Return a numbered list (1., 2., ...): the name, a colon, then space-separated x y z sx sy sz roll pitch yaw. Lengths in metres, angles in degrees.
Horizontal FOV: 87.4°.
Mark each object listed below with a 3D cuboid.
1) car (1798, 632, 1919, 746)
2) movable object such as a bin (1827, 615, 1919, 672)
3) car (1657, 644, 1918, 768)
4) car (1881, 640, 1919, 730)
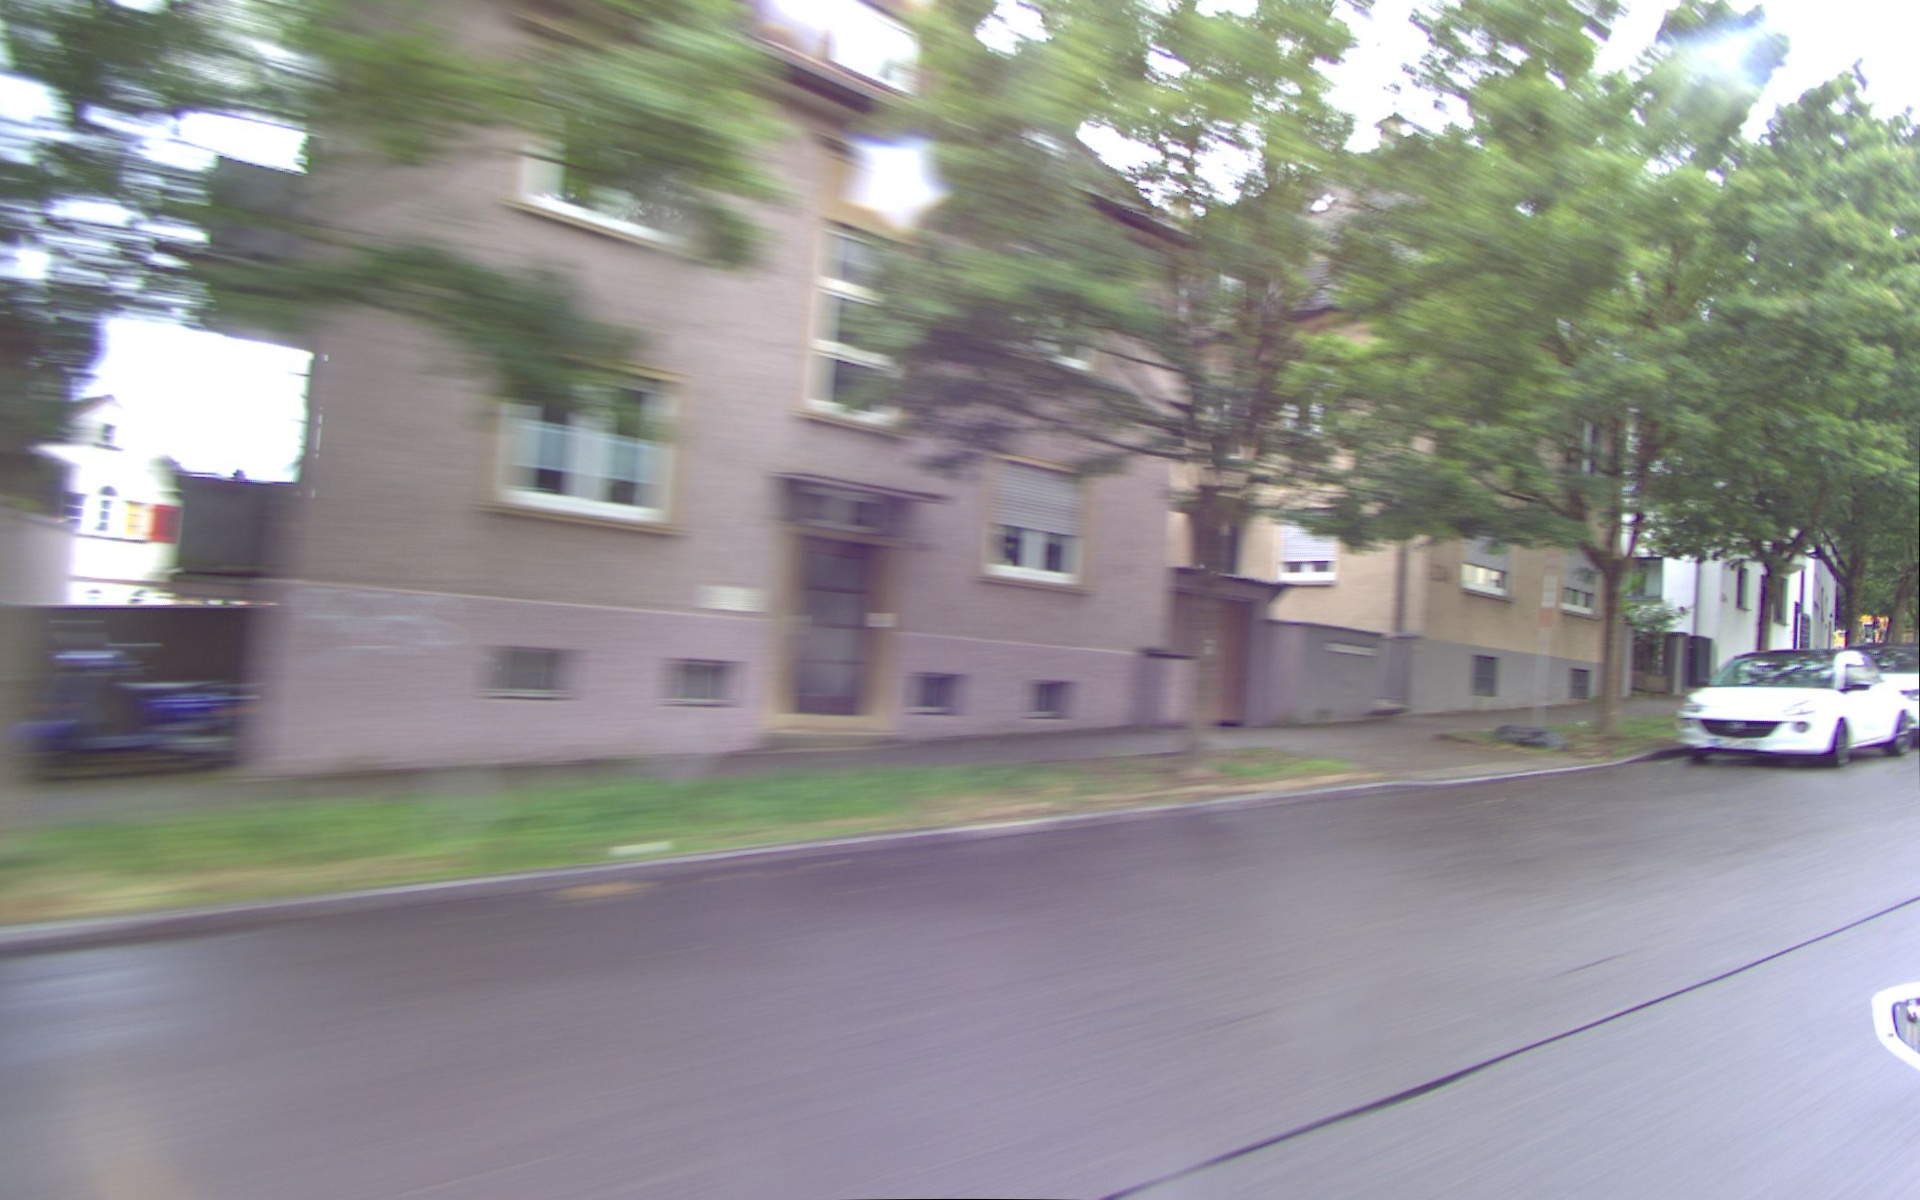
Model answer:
1. car: 15.420 1.456 16.546 3.888 1.679 1.581 3 -7 -38
2. movable object such as a bin: 71.186 3.293 76.883 2.776 4.068 7.319 2 0 -7
3. car: 11.381 1.411 13.786 3.628 1.489 1.610 2 -6 -32
4. car: 19.538 1.639 19.657 3.891 1.679 1.606 3 -6 -39
